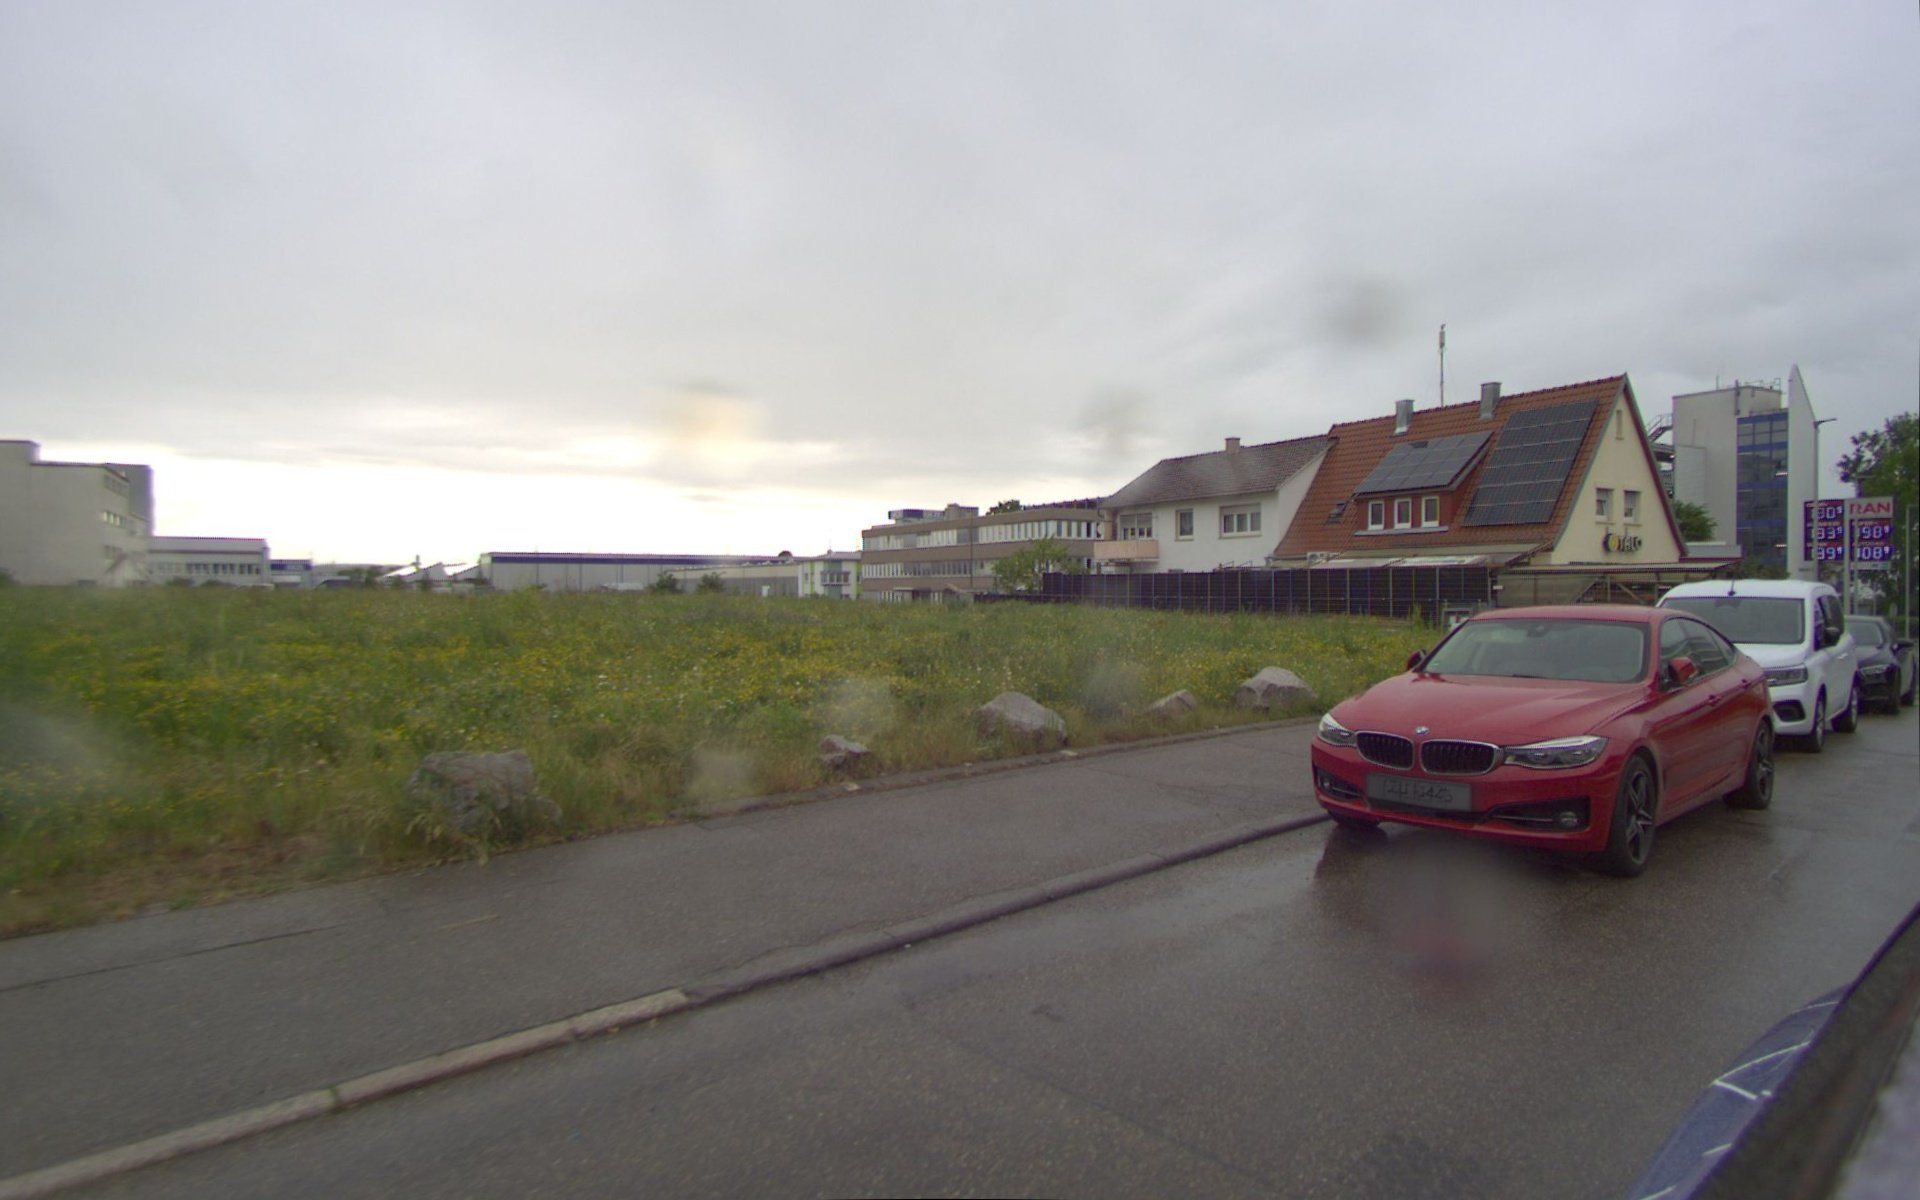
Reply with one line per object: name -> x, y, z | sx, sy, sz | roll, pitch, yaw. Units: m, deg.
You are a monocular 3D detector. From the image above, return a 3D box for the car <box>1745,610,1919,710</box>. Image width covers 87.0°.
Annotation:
car -> 13.991, 0.846, 16.032 | 4.246, 1.353, 1.771 | 1, -1, -42

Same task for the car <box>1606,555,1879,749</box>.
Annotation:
car -> 9.247, 0.509, 11.810 | 4.496, 1.848, 1.771 | 1, -1, -42

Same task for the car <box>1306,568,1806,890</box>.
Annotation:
car -> 4.413, 0.653, 7.147 | 4.561, 1.595, 1.645 | 1, -1, -40
